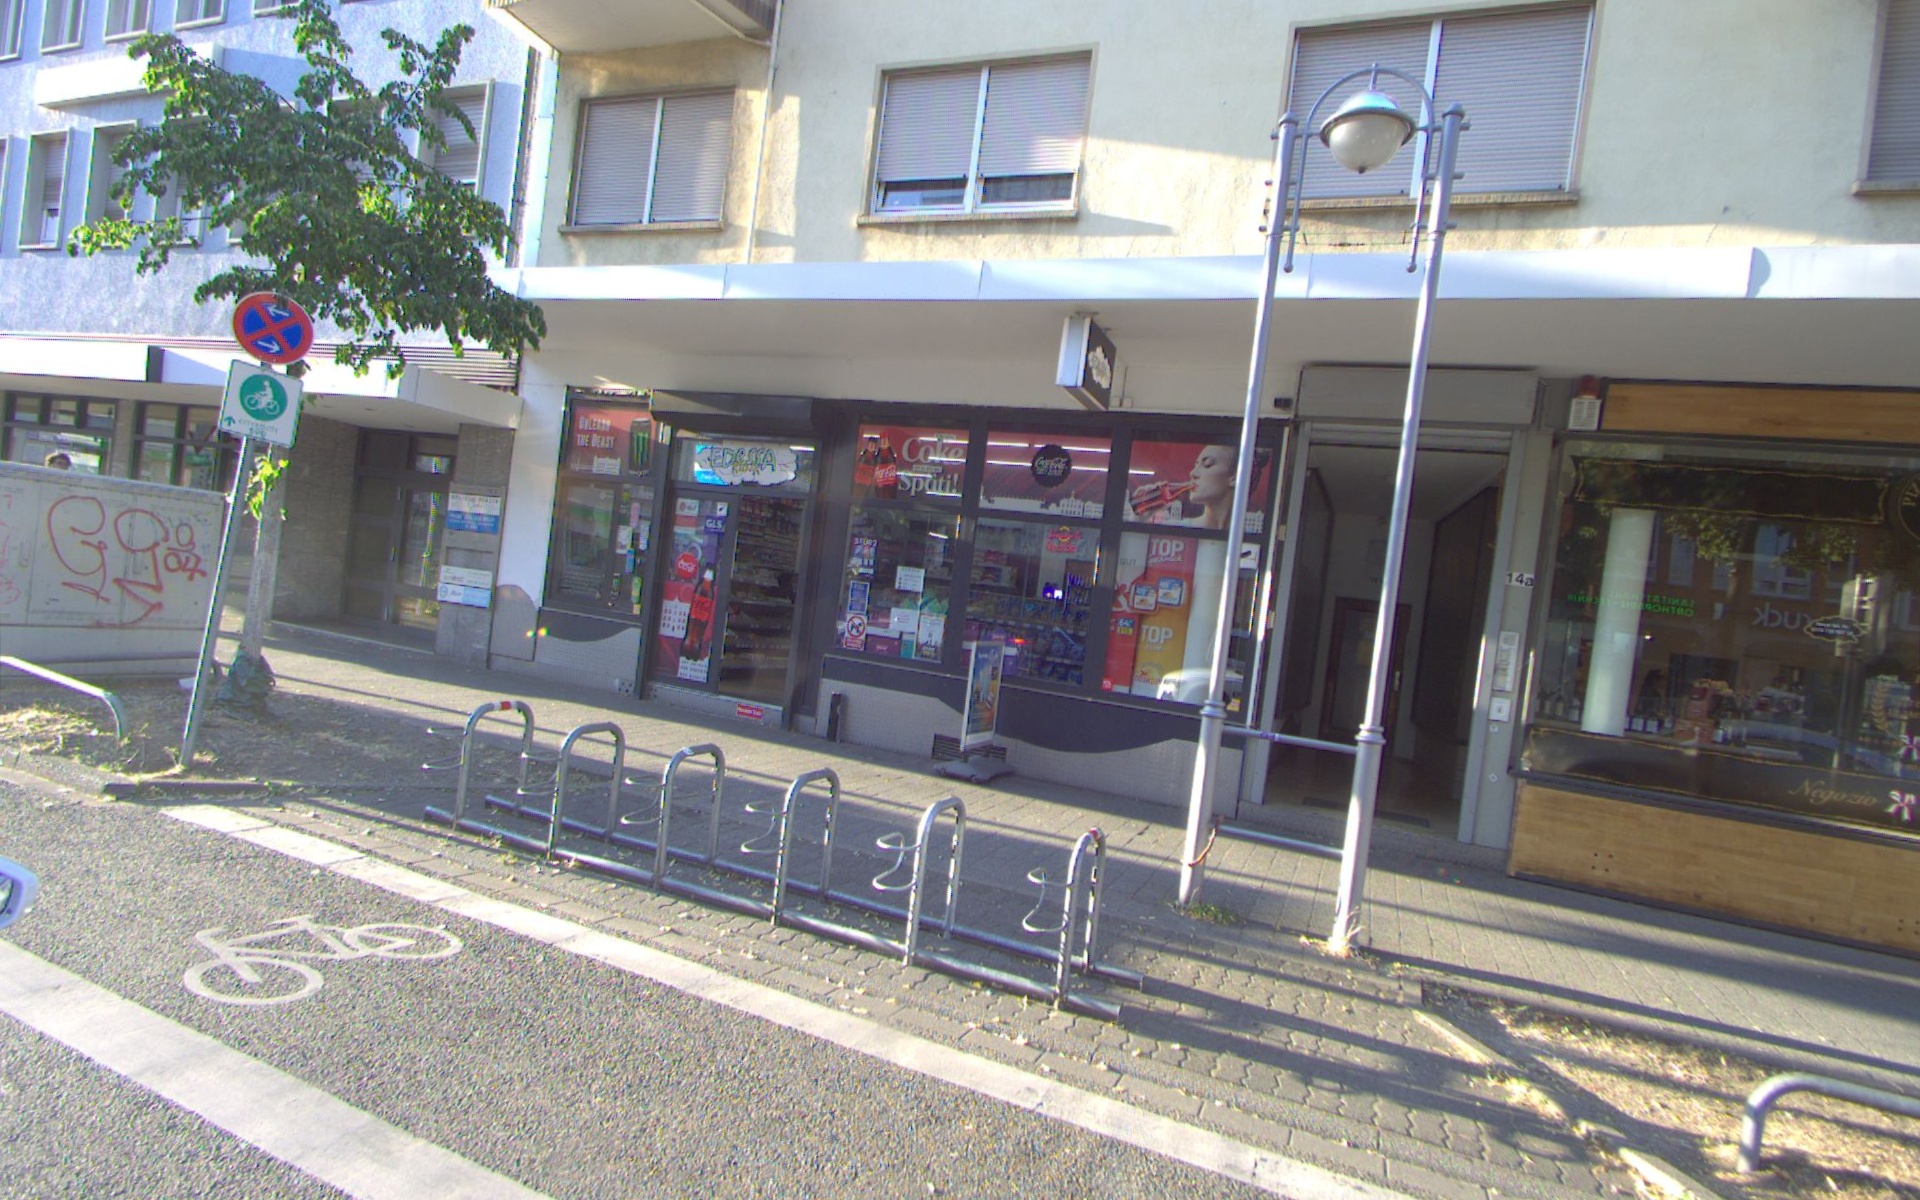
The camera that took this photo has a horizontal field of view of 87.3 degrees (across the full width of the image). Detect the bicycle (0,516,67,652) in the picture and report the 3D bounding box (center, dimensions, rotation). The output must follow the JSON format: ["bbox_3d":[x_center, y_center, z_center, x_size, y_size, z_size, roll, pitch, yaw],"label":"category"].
[{"bbox_3d":[-9.174,-0.197,9.143,0.376,1.234,1.446,7,-1,25],"label":"bicycle"}]

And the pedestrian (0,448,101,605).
[{"bbox_3d":[-11.662,-0.918,12.762,0.666,1.865,0.837,7,1,24],"label":"pedestrian"}]
